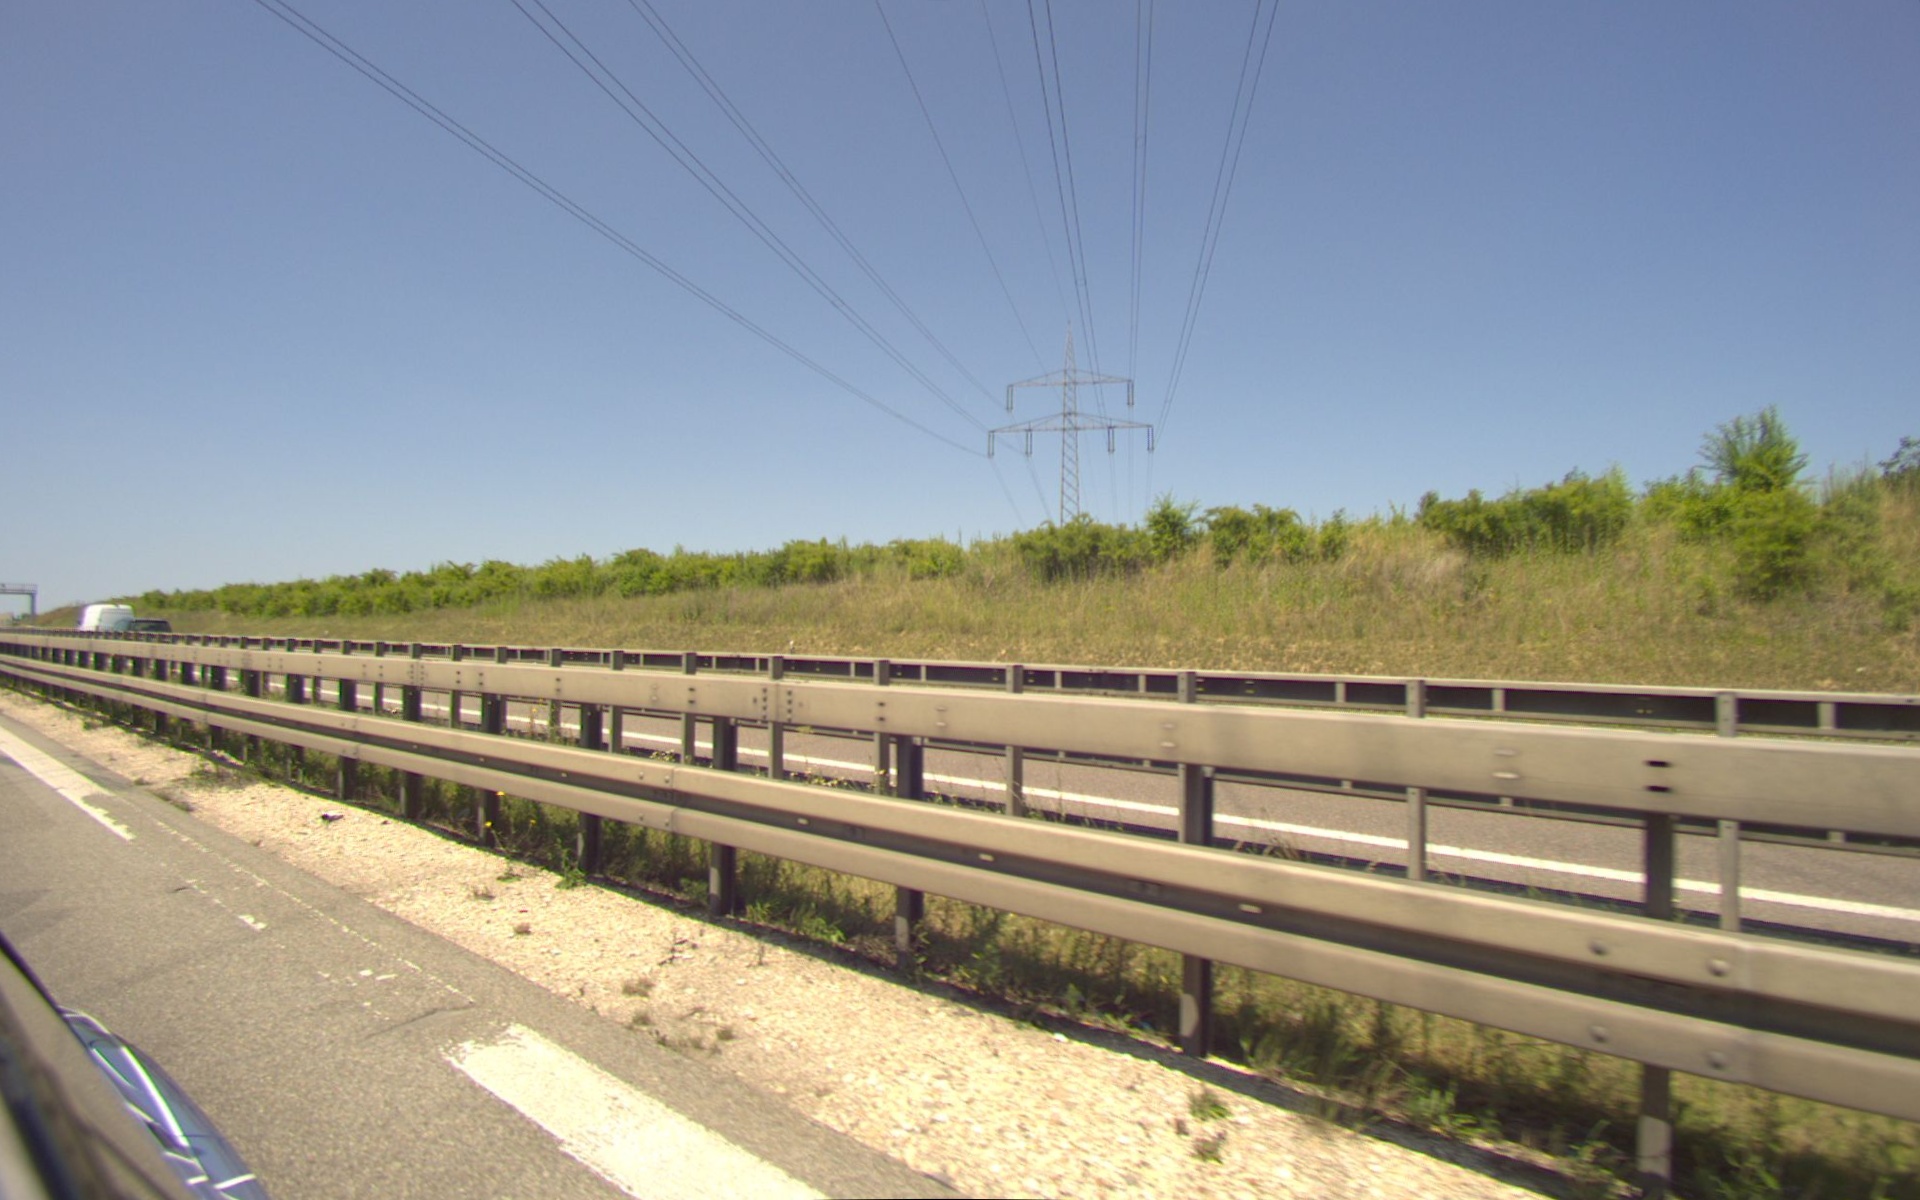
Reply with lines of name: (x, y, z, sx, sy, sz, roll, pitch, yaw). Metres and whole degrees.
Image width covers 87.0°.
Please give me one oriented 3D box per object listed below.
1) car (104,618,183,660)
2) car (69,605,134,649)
car: (-33.258, 1.565, 41.199, 3.998, 1.612, 1.819, -1, -2, 41)
car: (-54.348, 1.659, 63.985, 7.596, 2.625, 2.011, -1, 0, 41)
